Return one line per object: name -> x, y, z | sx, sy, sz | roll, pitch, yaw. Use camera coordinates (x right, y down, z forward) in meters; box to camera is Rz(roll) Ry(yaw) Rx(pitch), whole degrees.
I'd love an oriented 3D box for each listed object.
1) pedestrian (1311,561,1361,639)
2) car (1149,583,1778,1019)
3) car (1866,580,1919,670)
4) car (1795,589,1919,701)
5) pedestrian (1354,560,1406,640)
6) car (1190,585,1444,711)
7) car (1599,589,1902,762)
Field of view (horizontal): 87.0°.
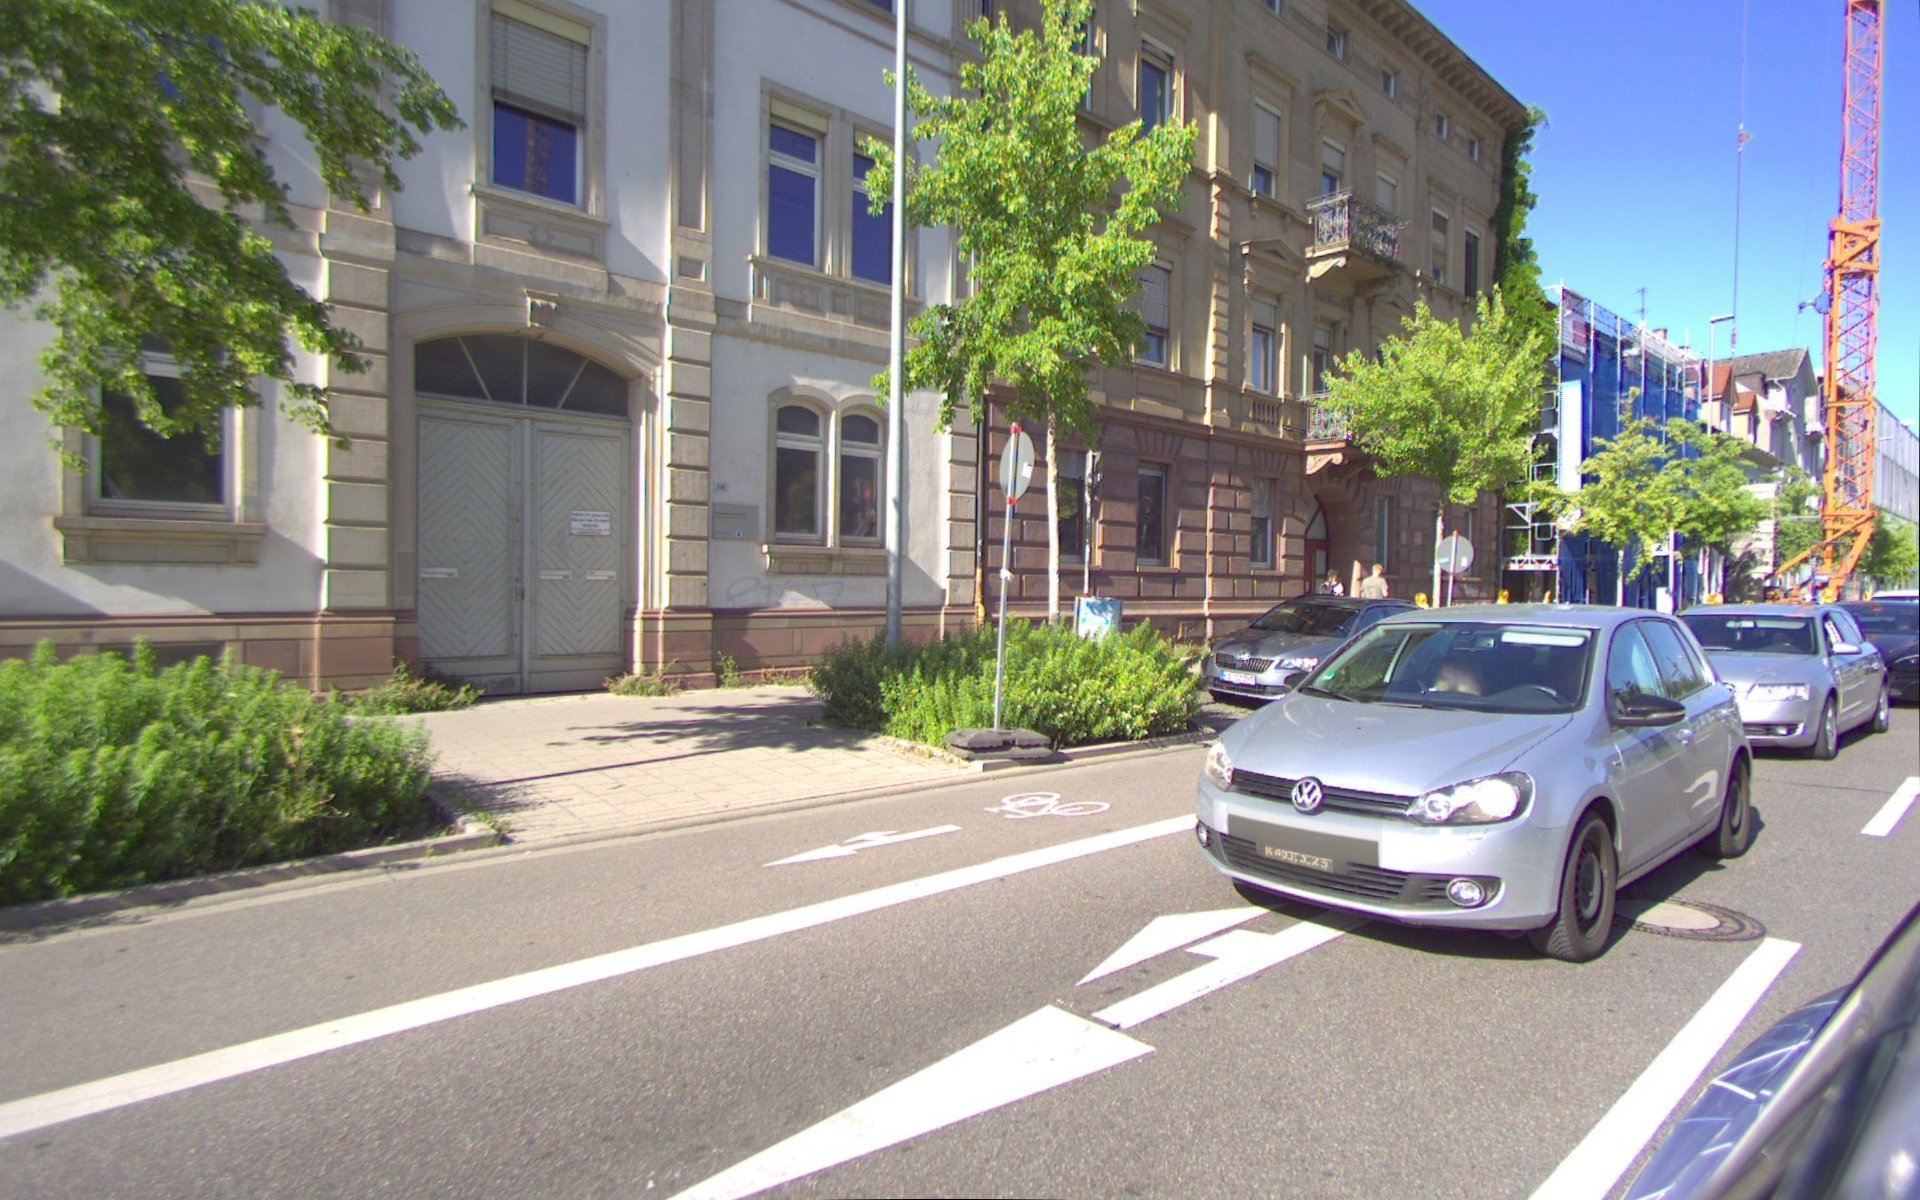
pedestrian -> 7.912, -0.005, 21.277 | 0.891, 1.581, 0.668 | 0, 0, -43
car -> 2.907, 0.666, 5.425 | 3.931, 1.493, 1.701 | -1, 0, -42
car -> 19.244, 0.439, 19.915 | 3.931, 1.652, 1.701 | -1, 0, -42
car -> 13.707, 0.570, 14.840 | 3.931, 1.442, 1.701 | -1, 0, -42
pedestrian -> 8.592, -0.003, 20.689 | 0.891, 1.581, 0.668 | 0, 0, -43
car -> 5.013, 0.541, 13.972 | 3.931, 1.461, 1.608 | -1, 2, -42
car -> 8.327, 0.621, 10.540 | 3.931, 1.442, 1.837 | -1, 0, -42
